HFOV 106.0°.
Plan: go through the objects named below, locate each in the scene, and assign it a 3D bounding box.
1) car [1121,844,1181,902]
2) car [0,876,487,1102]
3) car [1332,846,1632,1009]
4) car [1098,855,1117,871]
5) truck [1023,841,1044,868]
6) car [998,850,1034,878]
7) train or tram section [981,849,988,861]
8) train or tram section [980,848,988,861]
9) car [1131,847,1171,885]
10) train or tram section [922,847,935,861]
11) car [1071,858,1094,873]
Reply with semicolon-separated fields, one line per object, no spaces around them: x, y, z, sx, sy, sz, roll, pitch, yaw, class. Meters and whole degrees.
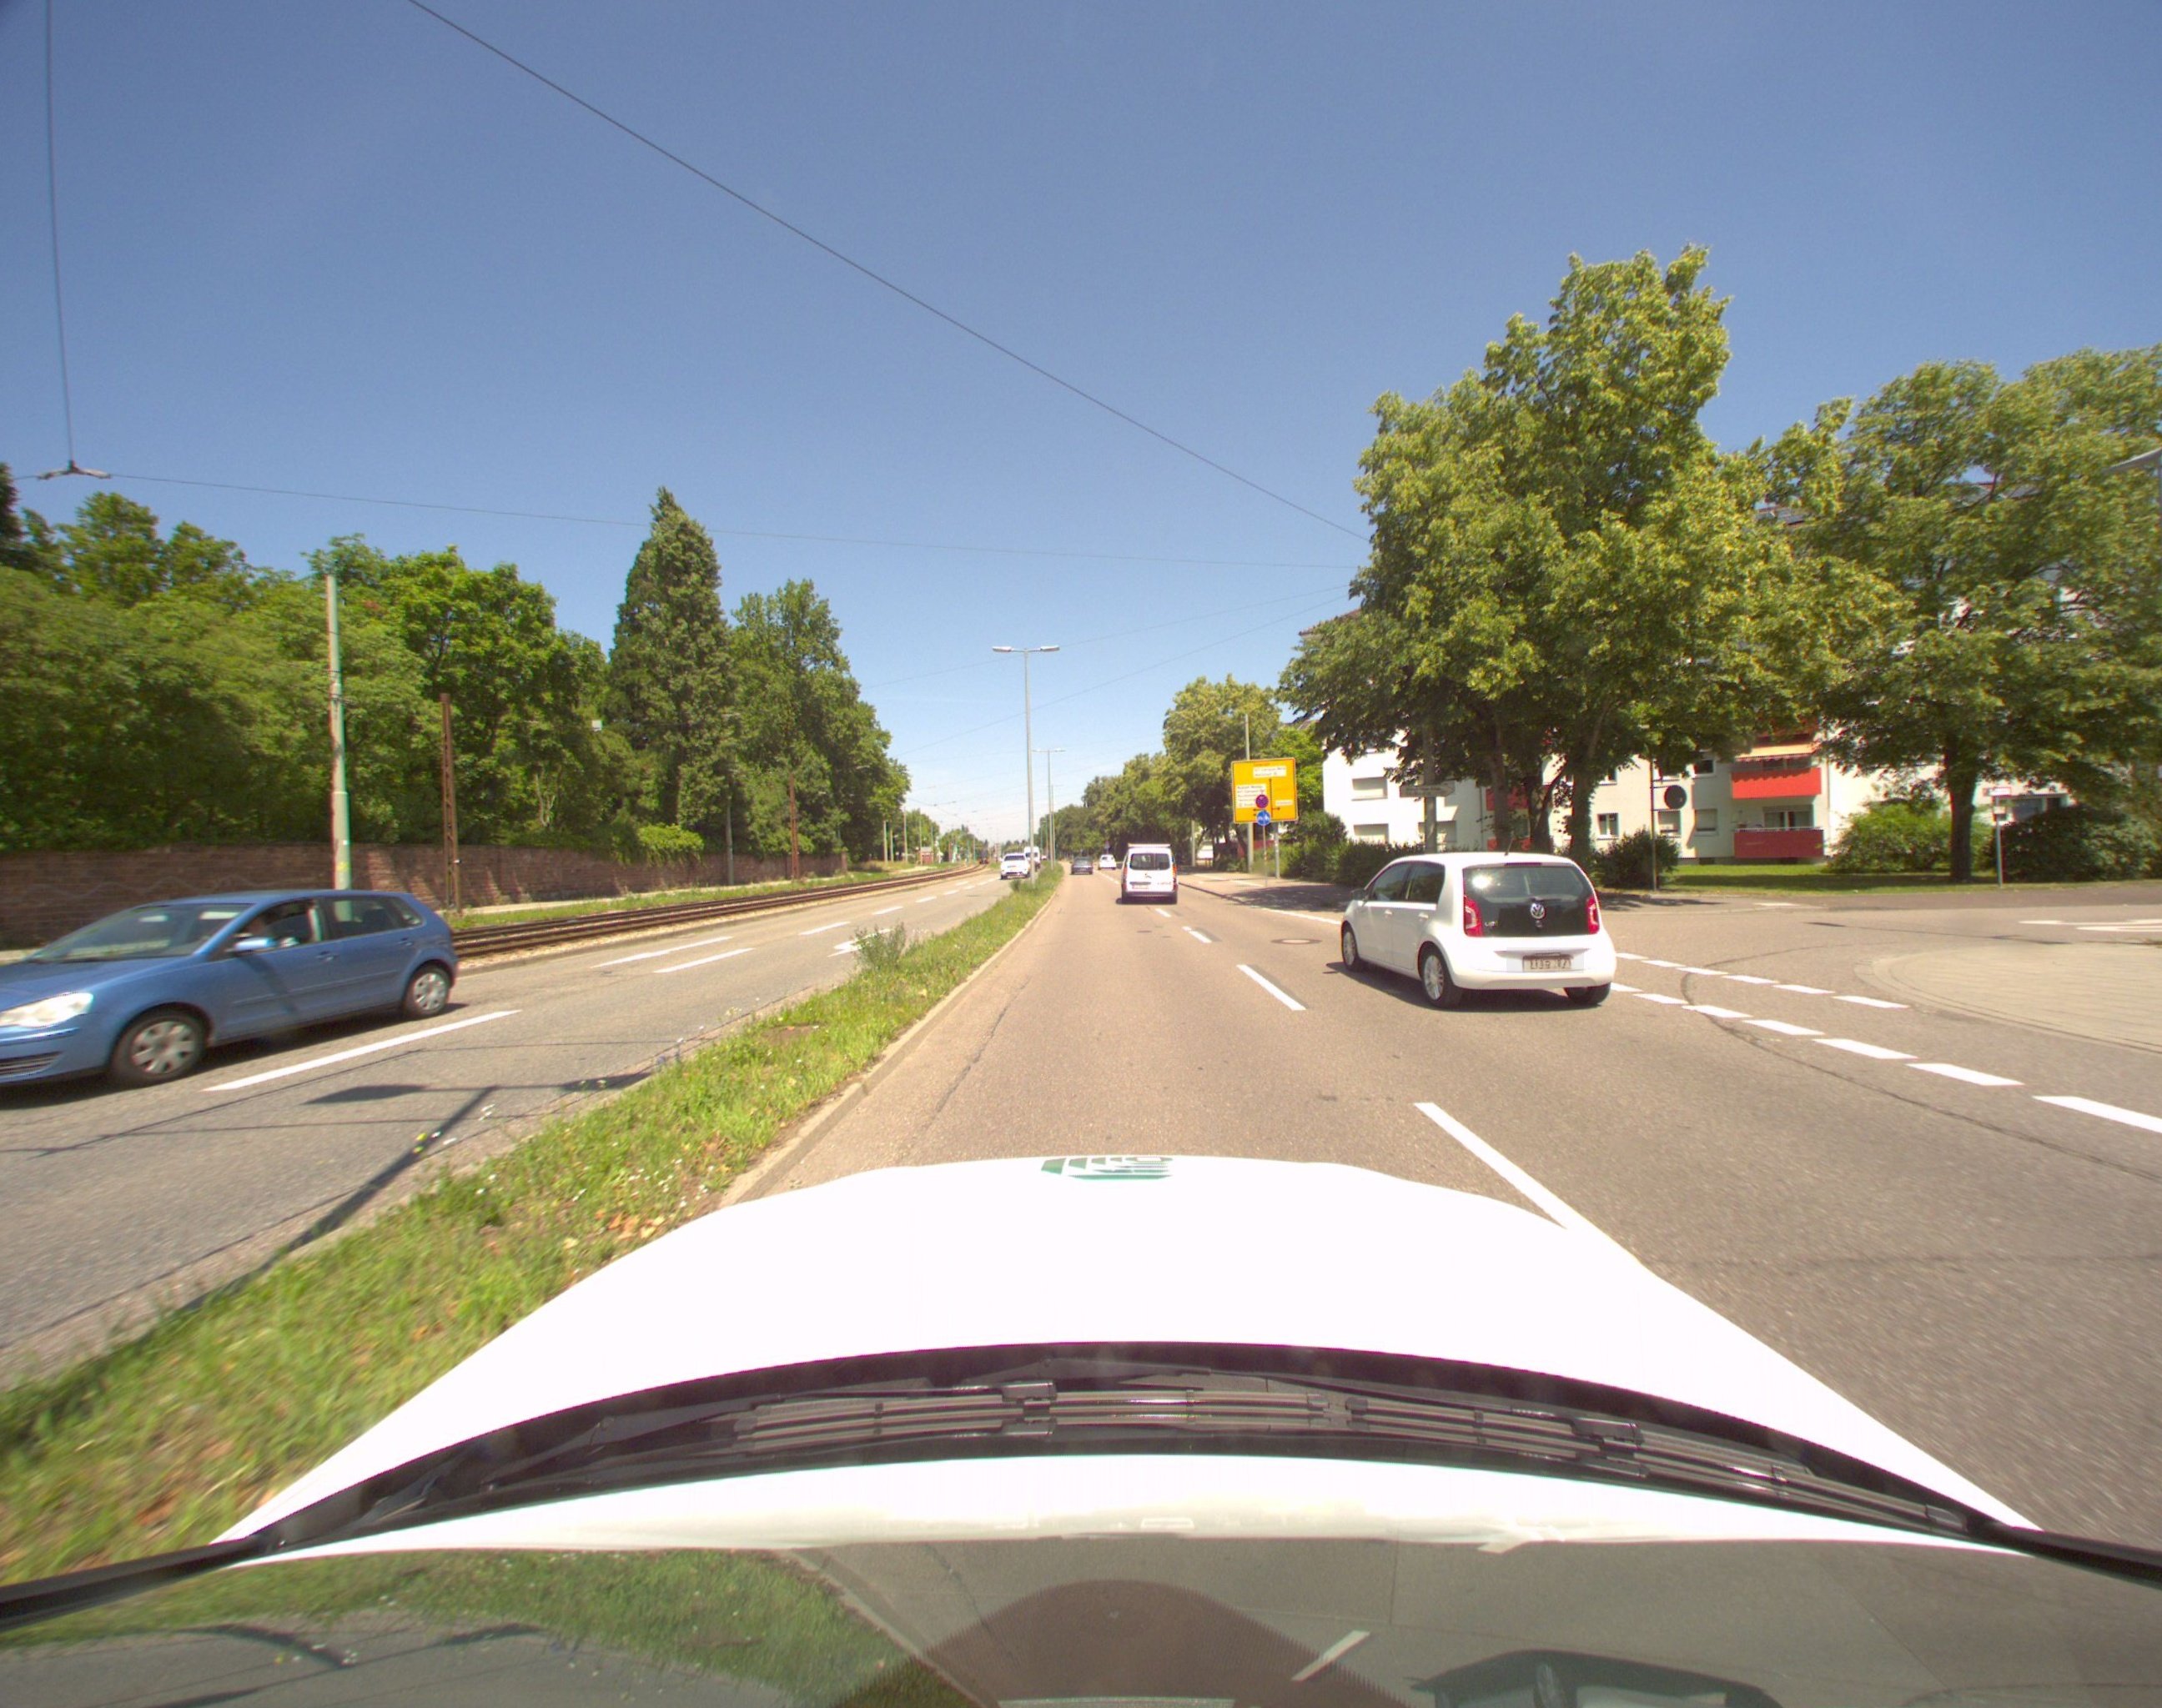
2.232;0.569;26.910;1.814;1.739;4.399;0;0;3;car
-7.881;1.011;7.591;1.691;1.439;4.000;-2;0;0;car
4.092;0.636;8.947;1.604;1.447;3.435;0;1;0;car
2.741;0.884;83.313;1.827;1.568;4.003;0;1;3;car
-5.859;0.085;101.417;1.986;3.213;5.314;-2;0;2;truck
-4.472;0.672;56.750;1.986;1.816;4.002;-2;0;2;car
-26.289;0.307;222.419;1.991;3.086;19.453;0;0;-7;train or tram section
-24.275;0.216;204.767;1.991;3.086;16.129;0;0;-7;train or tram section
3.393;0.575;40.059;1.721;1.788;4.066;0;0;2;car
-38.163;0.005;204.482;1.991;3.523;16.129;0;0;-7;train or tram section
0.135;0.896;65.261;1.686;1.215;3.591;0;0;2;car
